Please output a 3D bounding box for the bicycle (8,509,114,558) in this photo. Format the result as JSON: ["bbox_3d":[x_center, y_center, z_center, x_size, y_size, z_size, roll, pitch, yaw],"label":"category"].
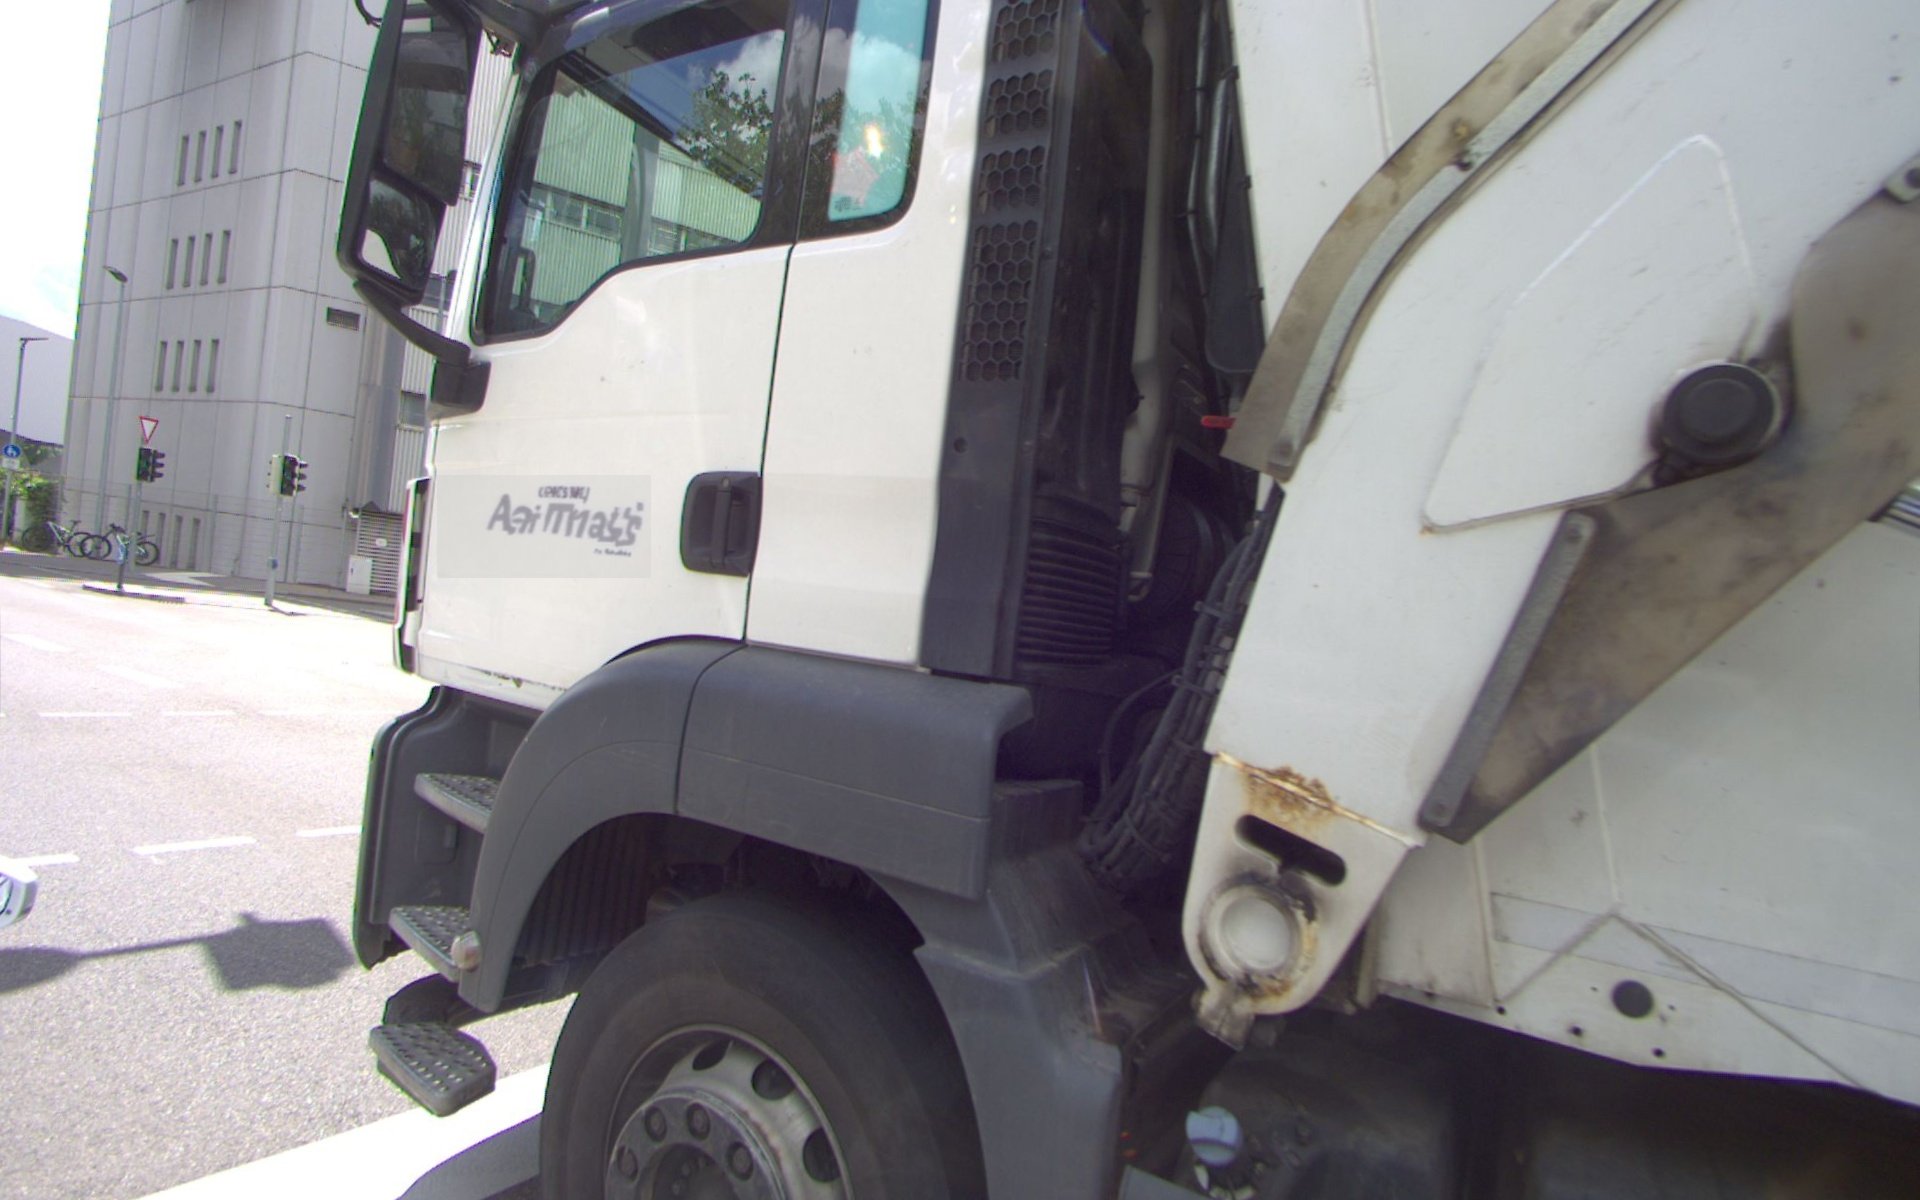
[{"bbox_3d":[-26.647,-1.959,29.851,2.196,1.099,0.474,8,-2,-23],"label":"bicycle"}]

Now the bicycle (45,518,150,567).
[{"bbox_3d":[-25.309,-1.665,29.564,2.196,1.099,0.474,8,-2,-23],"label":"bicycle"}]

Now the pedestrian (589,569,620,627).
[{"bbox_3d":[-11.435,-0.063,32.350,0.651,1.778,0.516,7,3,-31],"label":"pedestrian"}]

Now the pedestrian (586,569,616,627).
[{"bbox_3d":[-11.717,-0.078,32.851,0.651,1.783,0.480,7,2,-31],"label":"pedestrian"}]

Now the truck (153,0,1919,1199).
[{"bbox_3d":[3.305,-0.081,0.800,10.004,3.958,2.494,6,-2,31],"label":"truck"}]

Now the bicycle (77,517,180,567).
[{"bbox_3d":[-24.253,-1.674,29.381,2.166,1.099,0.474,8,-2,-23],"label":"bicycle"}]
